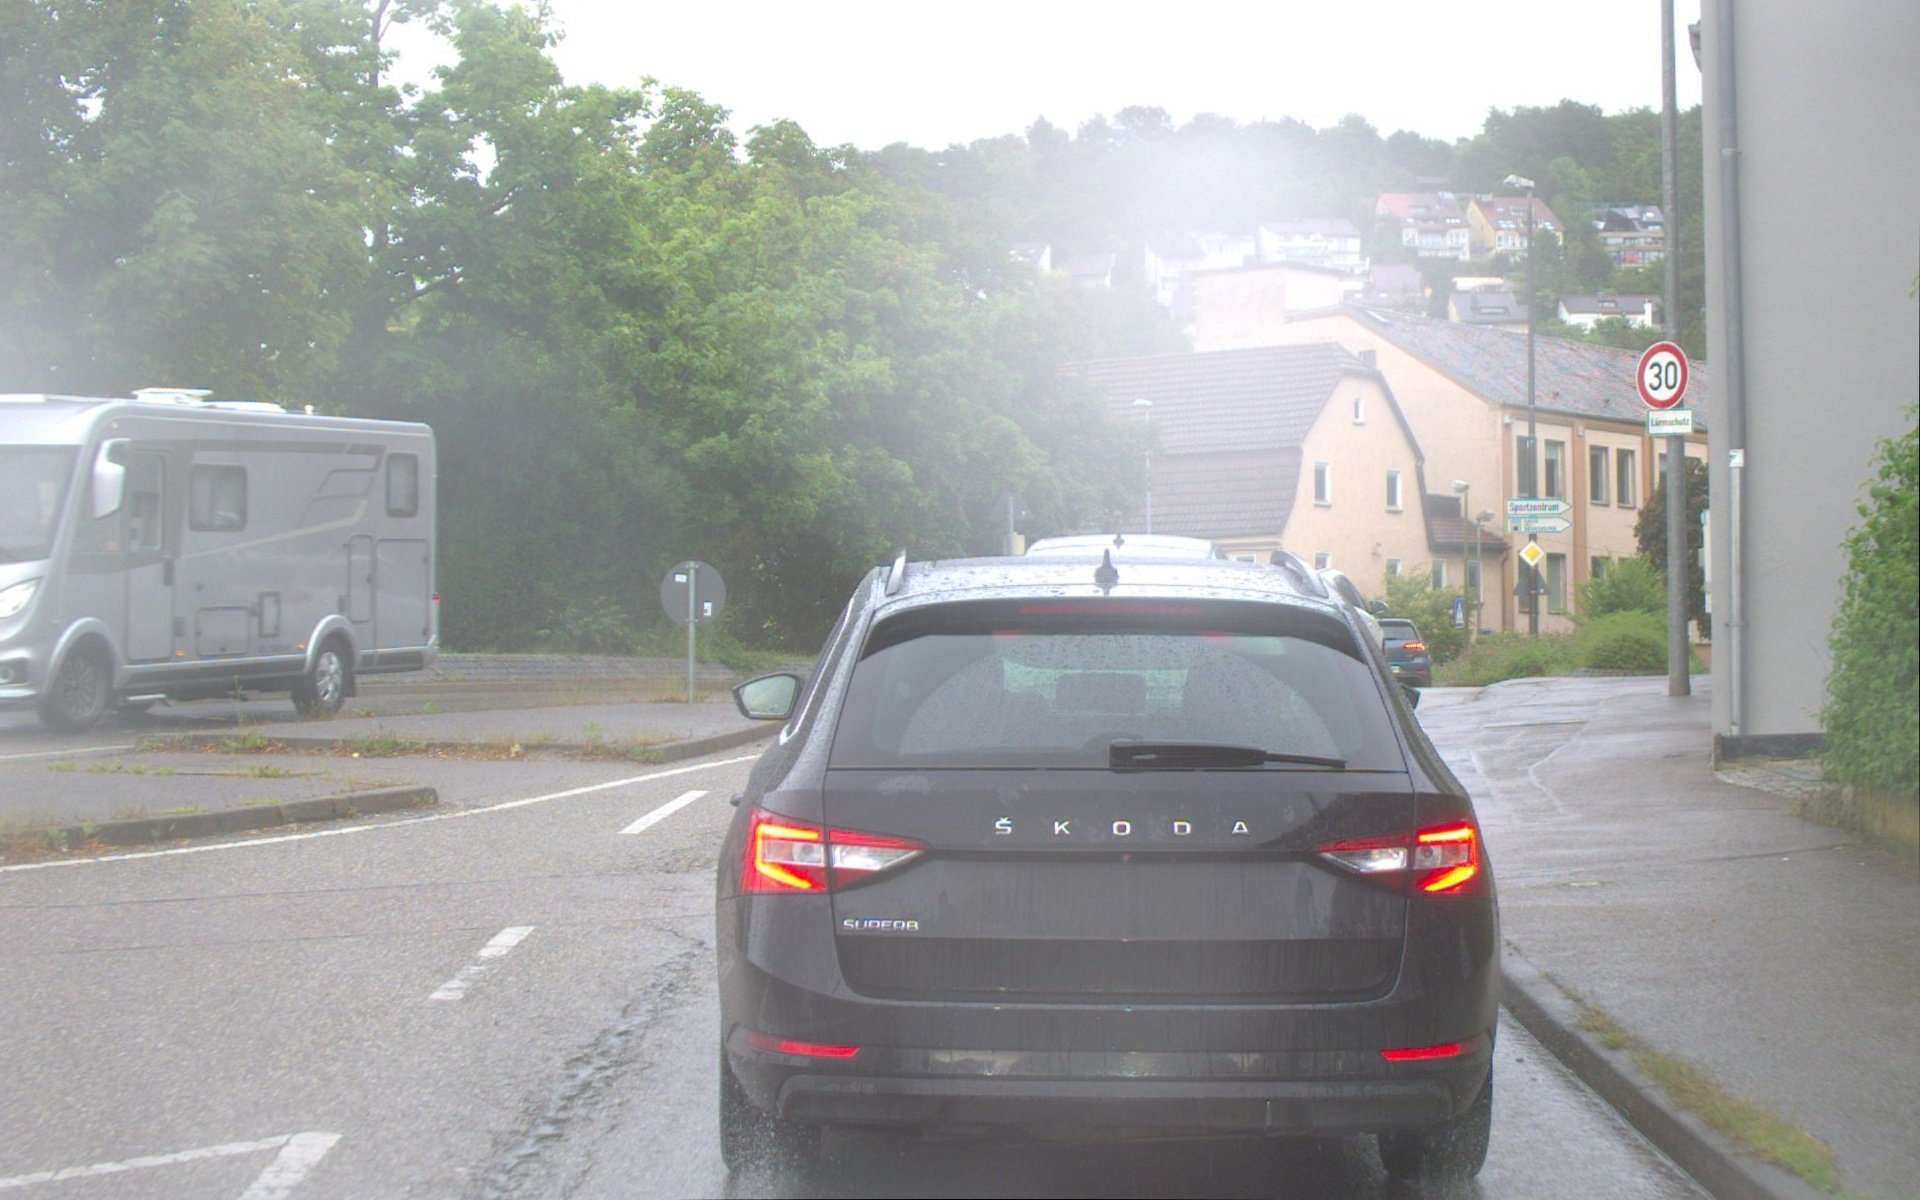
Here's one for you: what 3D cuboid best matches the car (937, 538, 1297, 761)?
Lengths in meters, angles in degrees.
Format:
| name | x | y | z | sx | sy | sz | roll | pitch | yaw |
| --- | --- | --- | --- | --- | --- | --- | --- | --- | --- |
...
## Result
| name | x | y | z | sx | sy | sz | roll | pitch | yaw |
| --- | --- | --- | --- | --- | --- | --- | --- | --- | --- |
| car | 1.152 | 0.388 | 23.289 | 1.819 | 1.355 | 3.987 | -1 | -2 | 12 |

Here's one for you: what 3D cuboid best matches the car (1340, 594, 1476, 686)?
| name | x | y | z | sx | sy | sz | roll | pitch | yaw |
| --- | --- | --- | --- | --- | --- | --- | --- | --- | --- |
| car | 8.167 | 0.707 | 62.974 | 1.993 | 1.560 | 4.000 | 1 | 1 | 1 |

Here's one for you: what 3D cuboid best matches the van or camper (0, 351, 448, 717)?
| name | x | y | z | sx | sy | sz | roll | pitch | yaw |
| --- | --- | --- | --- | --- | --- | --- | --- | --- | --- |
| van or camper | -6.852 | -0.508 | 28.619 | 2.369 | 2.647 | 7.014 | 0 | 0 | 17 |

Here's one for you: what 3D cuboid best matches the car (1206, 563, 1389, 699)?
| name | x | y | z | sx | sy | sz | roll | pitch | yaw |
| --- | --- | --- | --- | --- | --- | --- | --- | --- | --- |
| car | 3.799 | 0.302 | 38.203 | 1.653 | 1.382 | 3.918 | 1 | 1 | 11 |

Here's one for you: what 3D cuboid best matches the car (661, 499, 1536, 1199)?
| name | x | y | z | sx | sy | sz | roll | pitch | yaw |
| --- | --- | --- | --- | --- | --- | --- | --- | --- | --- |
| car | 0.242 | 0.529 | 9.211 | 1.782 | 1.478 | 4.247 | 1 | 3 | -1 |
